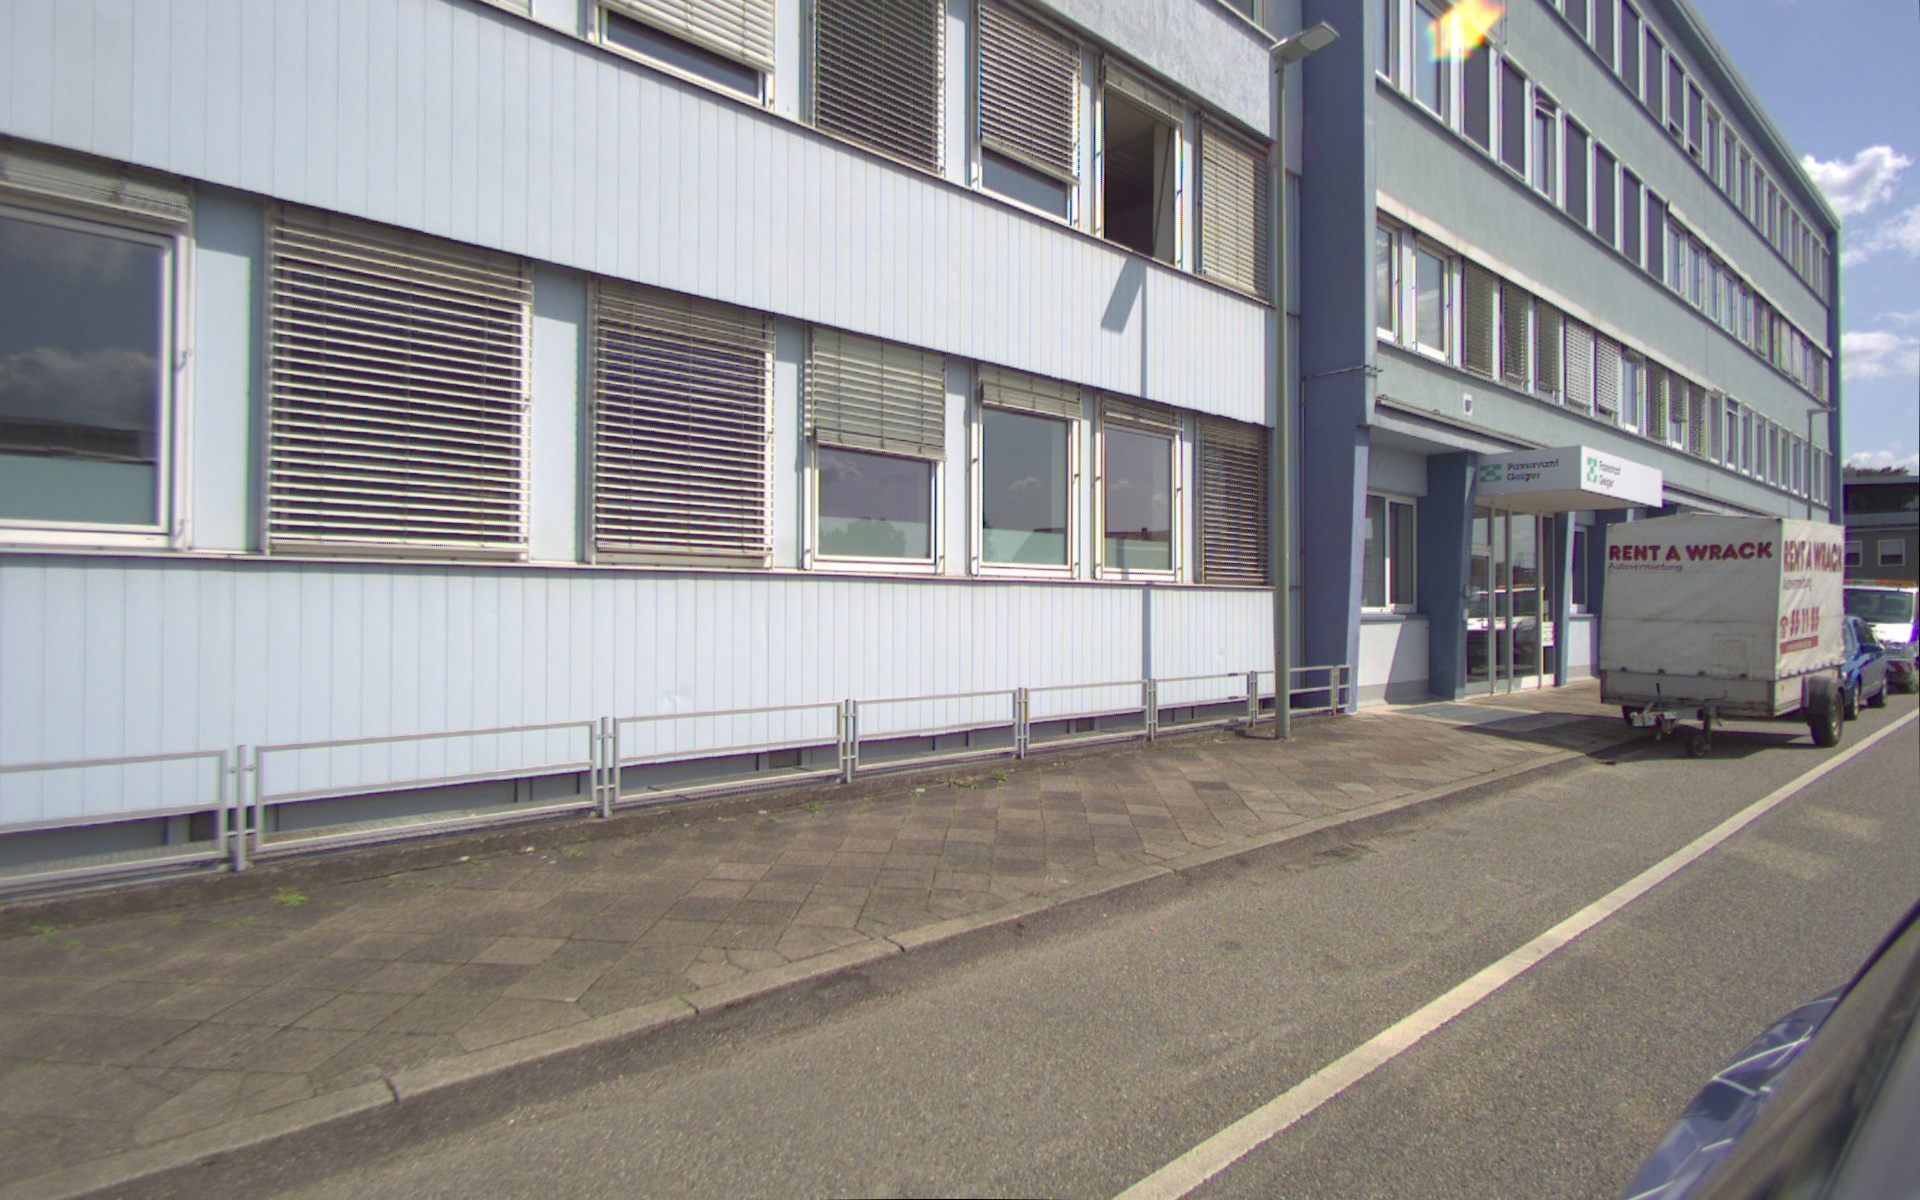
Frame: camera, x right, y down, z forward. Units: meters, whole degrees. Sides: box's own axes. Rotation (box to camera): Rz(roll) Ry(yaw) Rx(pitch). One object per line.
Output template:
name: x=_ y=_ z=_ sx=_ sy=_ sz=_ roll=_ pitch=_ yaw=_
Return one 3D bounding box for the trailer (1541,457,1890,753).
trailer: x=8.448 y=0.047 z=11.131 sx=4.980 sy=2.586 sz=1.873 roll=0 pitch=-1 yaw=-39

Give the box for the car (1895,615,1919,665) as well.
car: x=26.184 y=1.033 z=26.867 sx=3.931 sy=1.262 sz=1.649 roll=0 pitch=-1 yaw=-42

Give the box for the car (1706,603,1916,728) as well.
car: x=12.840 y=0.884 z=15.179 sx=4.327 sy=1.562 sz=1.720 roll=-1 pitch=-2 yaw=-41

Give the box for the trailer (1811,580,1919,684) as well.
trailer: x=20.181 y=0.627 z=21.856 sx=5.667 sy=1.996 sz=1.975 roll=0 pitch=-1 yaw=-42

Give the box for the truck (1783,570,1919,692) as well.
truck: x=17.480 y=0.537 z=19.369 sx=4.653 sy=2.061 sz=1.966 roll=0 pitch=-1 yaw=-42
